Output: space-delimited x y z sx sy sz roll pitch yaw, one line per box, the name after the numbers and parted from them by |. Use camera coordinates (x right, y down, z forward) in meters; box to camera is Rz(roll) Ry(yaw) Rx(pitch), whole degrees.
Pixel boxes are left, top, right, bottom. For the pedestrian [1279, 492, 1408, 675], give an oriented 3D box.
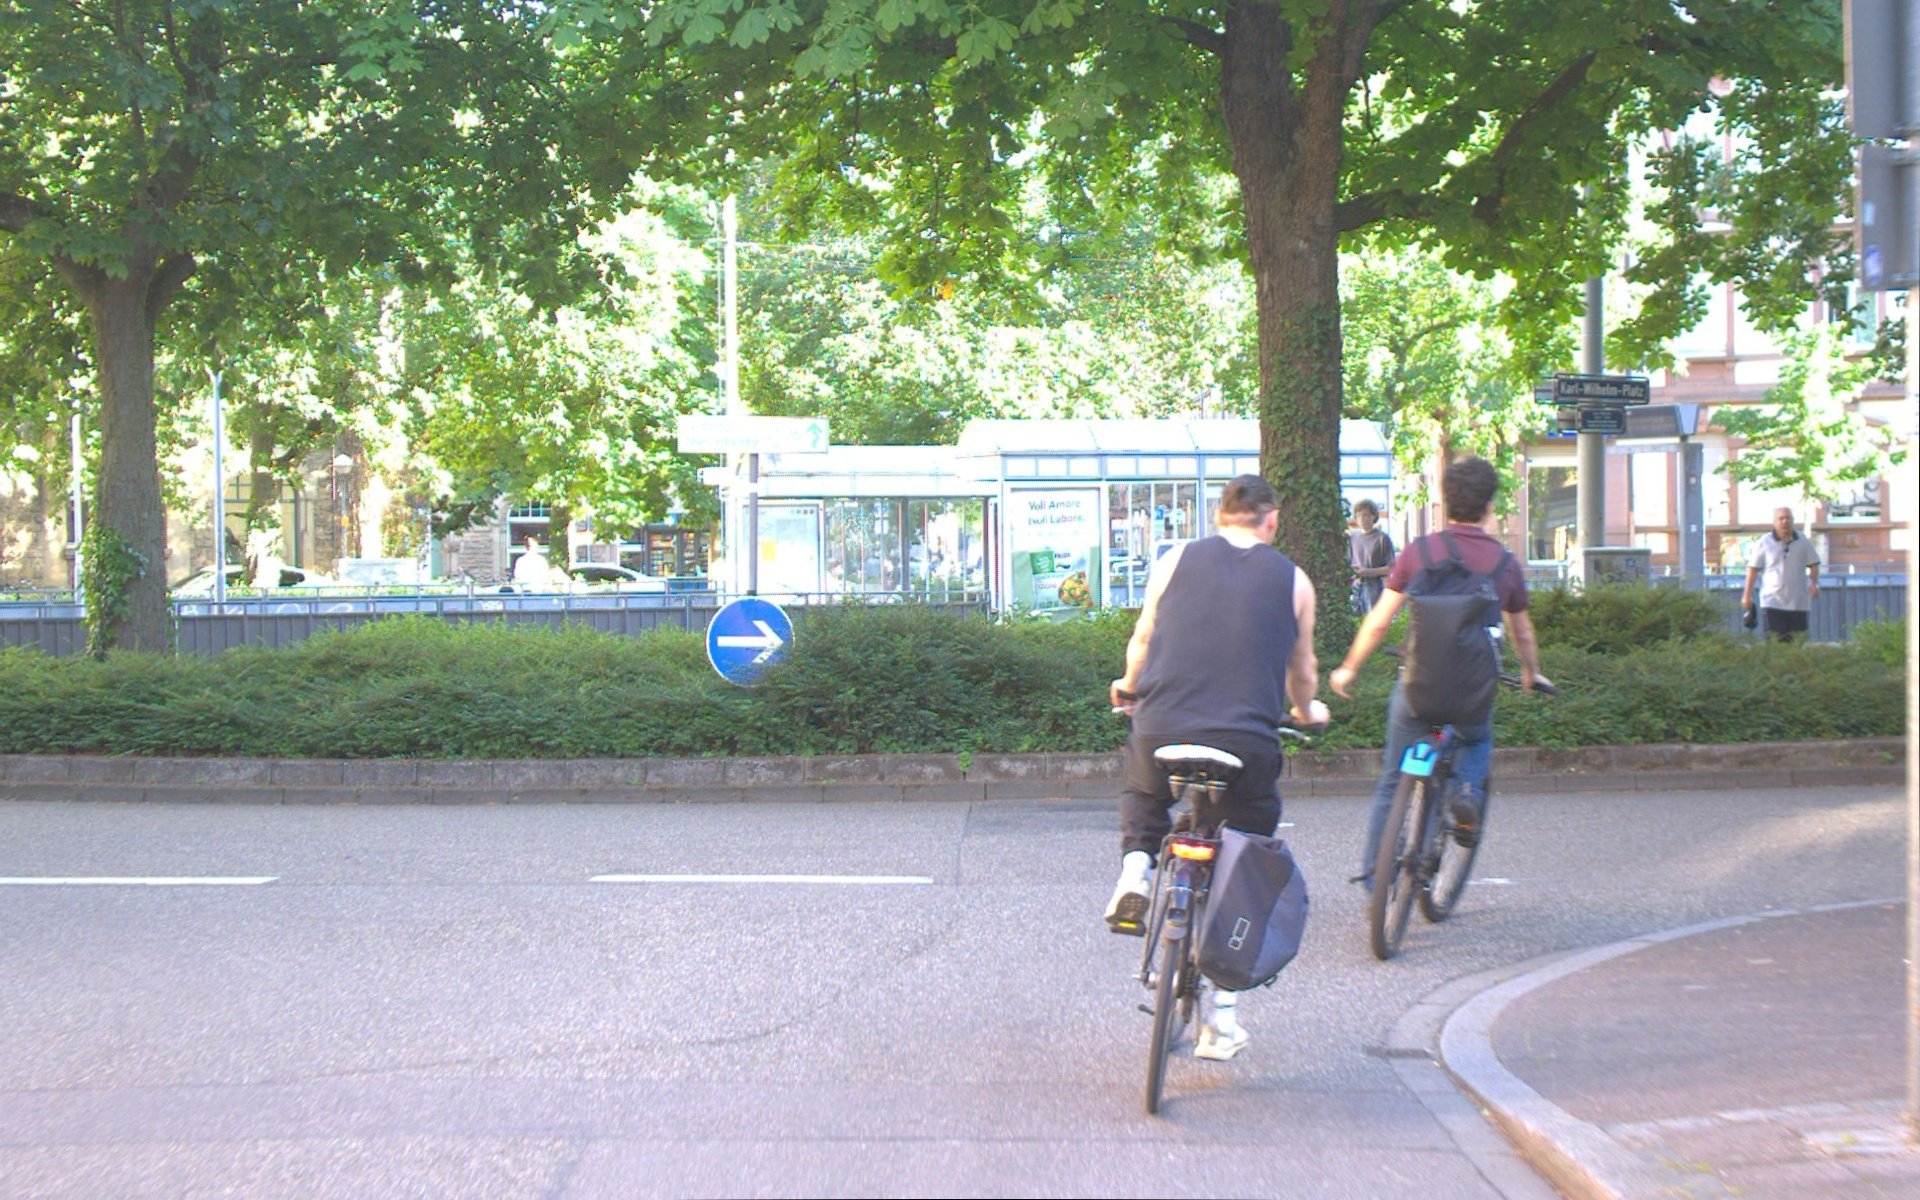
3.577 -0.156 32.025 0.898 1.678 0.818 0 1 33 | pedestrian

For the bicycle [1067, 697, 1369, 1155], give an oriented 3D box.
0.726 0.855 9.757 0.738 1.008 2.061 2 2 4 | bicycle

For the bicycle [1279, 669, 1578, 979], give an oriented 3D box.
1.811 0.800 13.030 0.675 1.050 2.059 -1 -1 21 | bicycle

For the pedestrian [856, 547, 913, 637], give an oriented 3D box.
-1.320 -0.146 60.010 0.809 1.538 0.821 1 1 -12 | pedestrian

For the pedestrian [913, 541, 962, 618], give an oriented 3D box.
-0.473 -0.438 73.317 1.000 1.625 1.064 -1 1 -2 | pedestrian

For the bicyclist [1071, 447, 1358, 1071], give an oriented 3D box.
0.715 0.425 9.719 0.752 1.676 0.913 -1 1 4 | bicyclist

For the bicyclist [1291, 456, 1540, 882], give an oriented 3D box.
1.710 0.248 12.811 0.672 1.509 1.068 -1 0 21 | bicyclist

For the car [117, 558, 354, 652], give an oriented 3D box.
-13.681 0.066 64.999 3.938 1.673 1.953 -2 1 -44 | car

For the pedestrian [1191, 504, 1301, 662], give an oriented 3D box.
3.484 -0.215 41.919 1.016 1.891 0.912 -1 1 -22 | pedestrian

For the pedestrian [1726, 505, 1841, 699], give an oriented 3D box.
7.244 0.011 30.274 0.916 1.678 0.780 -1 1 10 | pedestrian

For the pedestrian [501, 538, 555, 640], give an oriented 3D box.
-7.214 -0.188 57.435 0.701 1.689 0.671 1 1 -22 | pedestrian

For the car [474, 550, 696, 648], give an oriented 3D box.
-7.543 -0.044 69.164 3.986 1.864 2.000 -1 1 -26 | car
